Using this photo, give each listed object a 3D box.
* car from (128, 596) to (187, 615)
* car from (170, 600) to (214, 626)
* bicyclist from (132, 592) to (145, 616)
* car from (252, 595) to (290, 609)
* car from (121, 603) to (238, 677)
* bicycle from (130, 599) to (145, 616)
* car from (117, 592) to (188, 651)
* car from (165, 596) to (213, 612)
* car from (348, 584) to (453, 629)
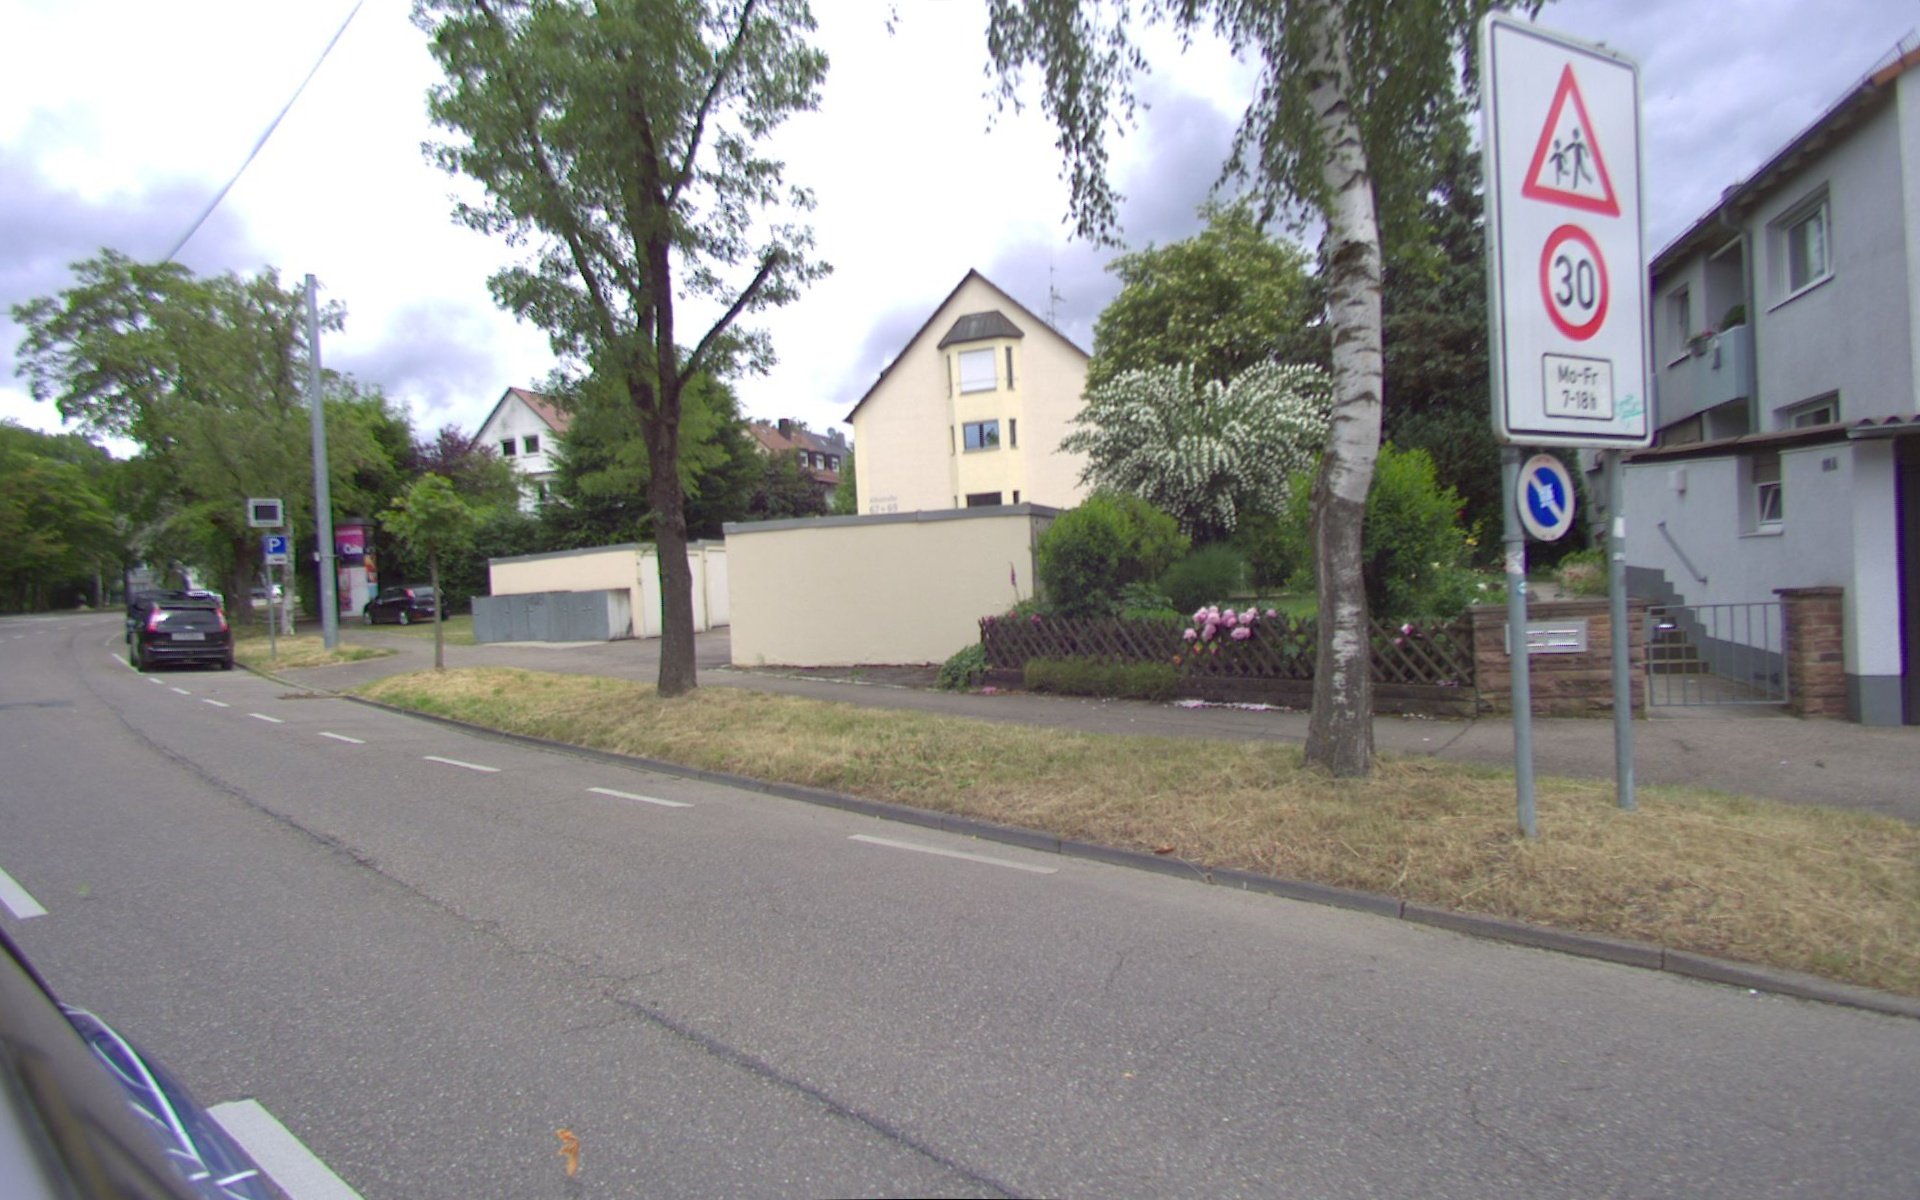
[{"bbox_3d":[-80.131,0.511,101.128,4.409,1.597,1.912,-5,3,-34],"label":"car"},{"bbox_3d":[-48.576,0.767,64.093,1.711,1.549,4.202,-1,1,-31],"label":"car"},{"bbox_3d":[-64.691,0.307,79.715,0.637,1.792,0.630,-2,2,-33],"label":"bicyclist"},{"bbox_3d":[-100.499,0.236,147.691,1.860,1.771,4.162,-1,3,44],"label":"car"},{"bbox_3d":[-18.410,0.883,23.812,1.783,1.575,4.271,2,-1,-43],"label":"car"},{"bbox_3d":[-64.378,0.601,79.235,0.637,1.246,1.883,-3,2,-32],"label":"bicycle"},{"bbox_3d":[-29.116,0.708,36.537,1.834,1.923,5.093,-2,1,-38],"label":"car"},{"bbox_3d":[-85.719,0.423,112.559,1.867,1.474,3.944,-1,3,44],"label":"car"},{"bbox_3d":[-21.458,0.259,38.775,3.978,1.488,1.760,-1,5,33],"label":"car"}]
